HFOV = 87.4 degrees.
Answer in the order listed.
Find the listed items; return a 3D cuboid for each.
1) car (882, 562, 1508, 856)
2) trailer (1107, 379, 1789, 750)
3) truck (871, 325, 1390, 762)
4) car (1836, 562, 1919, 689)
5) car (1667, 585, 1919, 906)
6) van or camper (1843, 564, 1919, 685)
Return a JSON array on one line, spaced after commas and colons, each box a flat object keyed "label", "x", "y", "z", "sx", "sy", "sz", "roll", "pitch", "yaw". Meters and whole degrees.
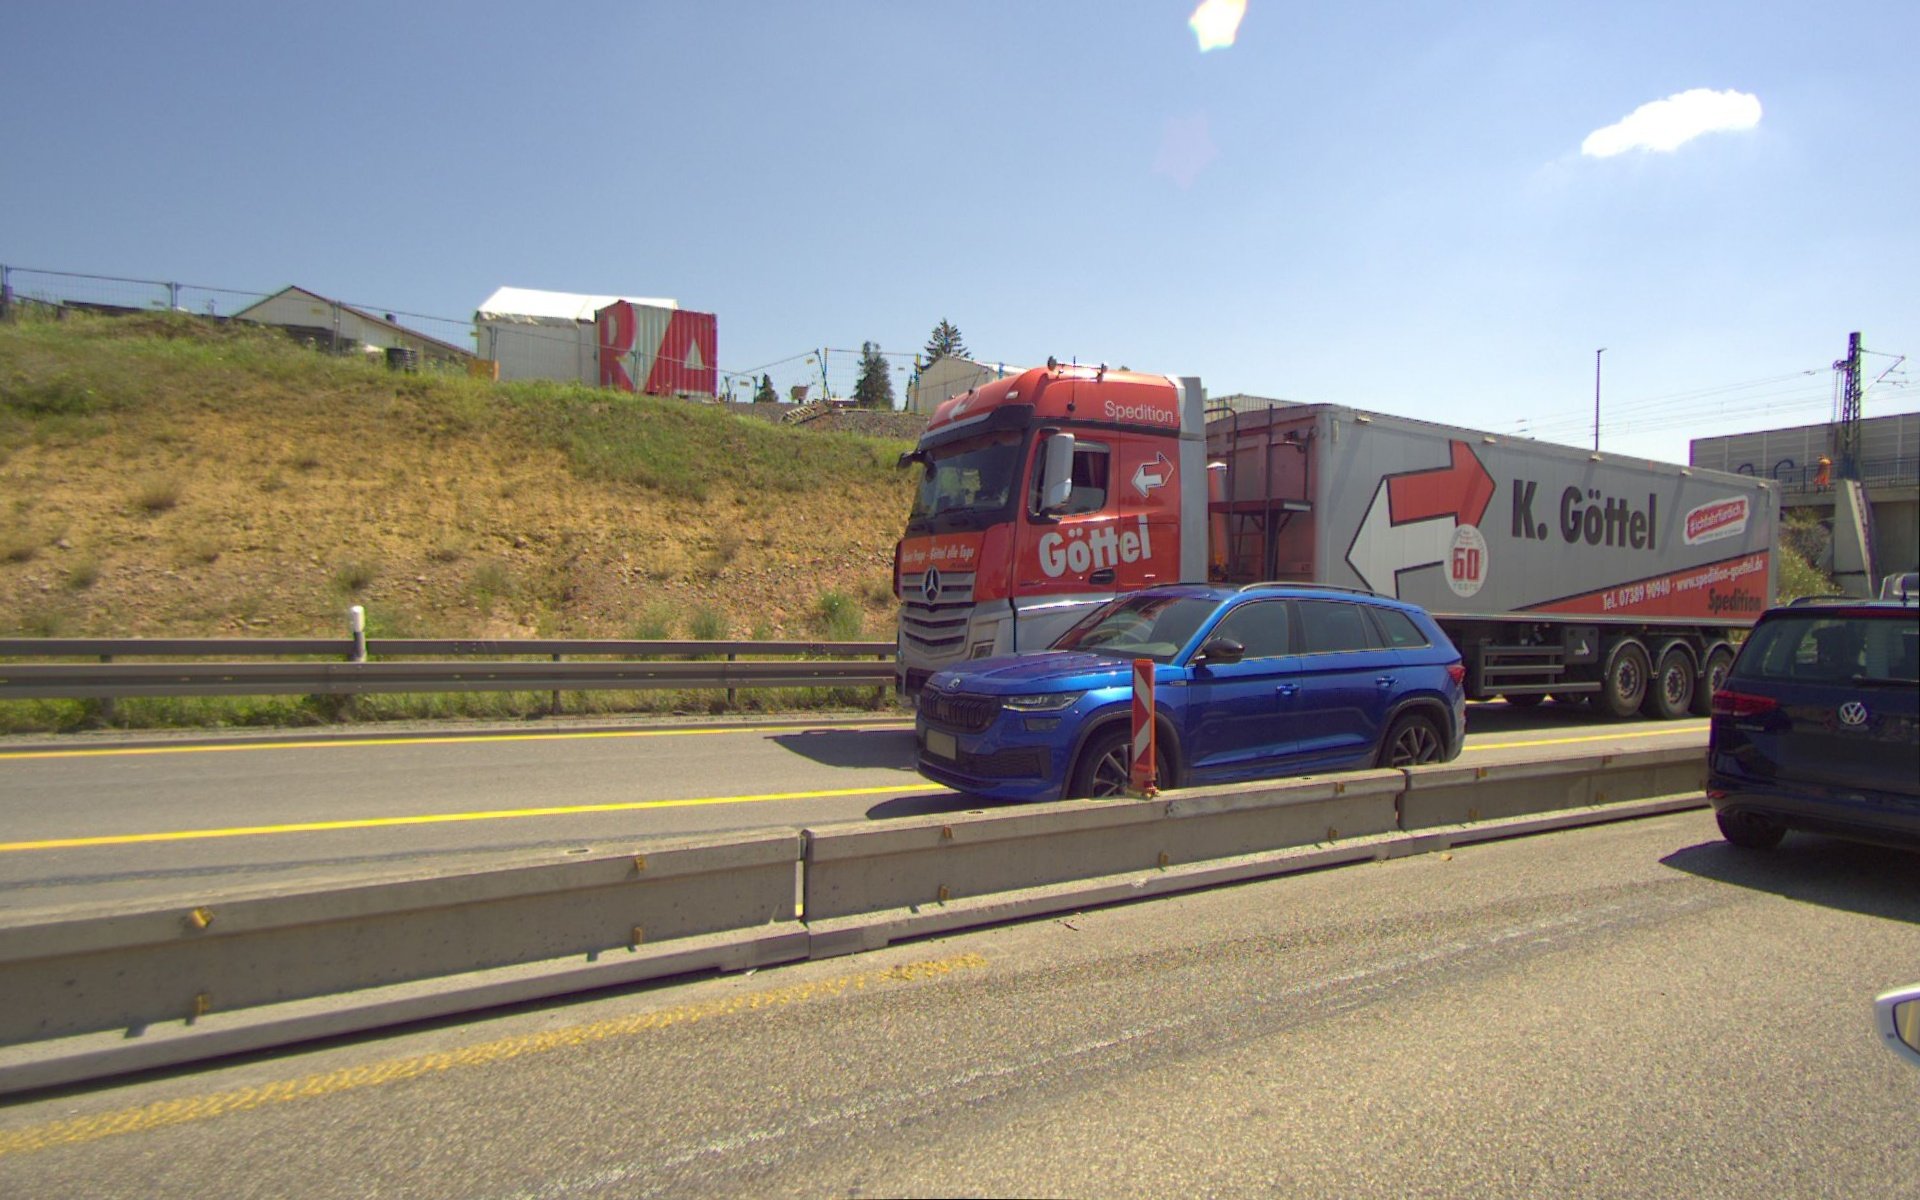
[{"label": "car", "x": 1.892, "y": 0.658, "z": 7.679, "sx": 4.627, "sy": 1.686, "sz": 1.826, "roll": 1, "pitch": 0, "yaw": -29}, {"label": "trailer", "x": 7.635, "y": -0.215, "z": 14.512, "sx": 11.679, "sy": 3.866, "sz": 2.643, "roll": 2, "pitch": 0, "yaw": -30}, {"label": "truck", "x": 1.987, "y": -0.433, "z": 11.376, "sx": 5.317, "sy": 3.879, "sz": 2.573, "roll": 2, "pitch": 0, "yaw": -30}, {"label": "car", "x": 24.211, "y": 0.663, "z": 24.609, "sx": 6.485, "sy": 2.858, "sz": 2.263, "roll": 2, "pitch": 0, "yaw": -32}, {"label": "car", "x": 6.696, "y": 0.789, "z": 6.525, "sx": 4.336, "sy": 1.657, "sz": 1.726, "roll": 1, "pitch": 0, "yaw": -29}, {"label": "van or camper", "x": 24.277, "y": 0.607, "z": 24.616, "sx": 6.381, "sy": 2.741, "sz": 2.113, "roll": 1, "pitch": 0, "yaw": -31}]
